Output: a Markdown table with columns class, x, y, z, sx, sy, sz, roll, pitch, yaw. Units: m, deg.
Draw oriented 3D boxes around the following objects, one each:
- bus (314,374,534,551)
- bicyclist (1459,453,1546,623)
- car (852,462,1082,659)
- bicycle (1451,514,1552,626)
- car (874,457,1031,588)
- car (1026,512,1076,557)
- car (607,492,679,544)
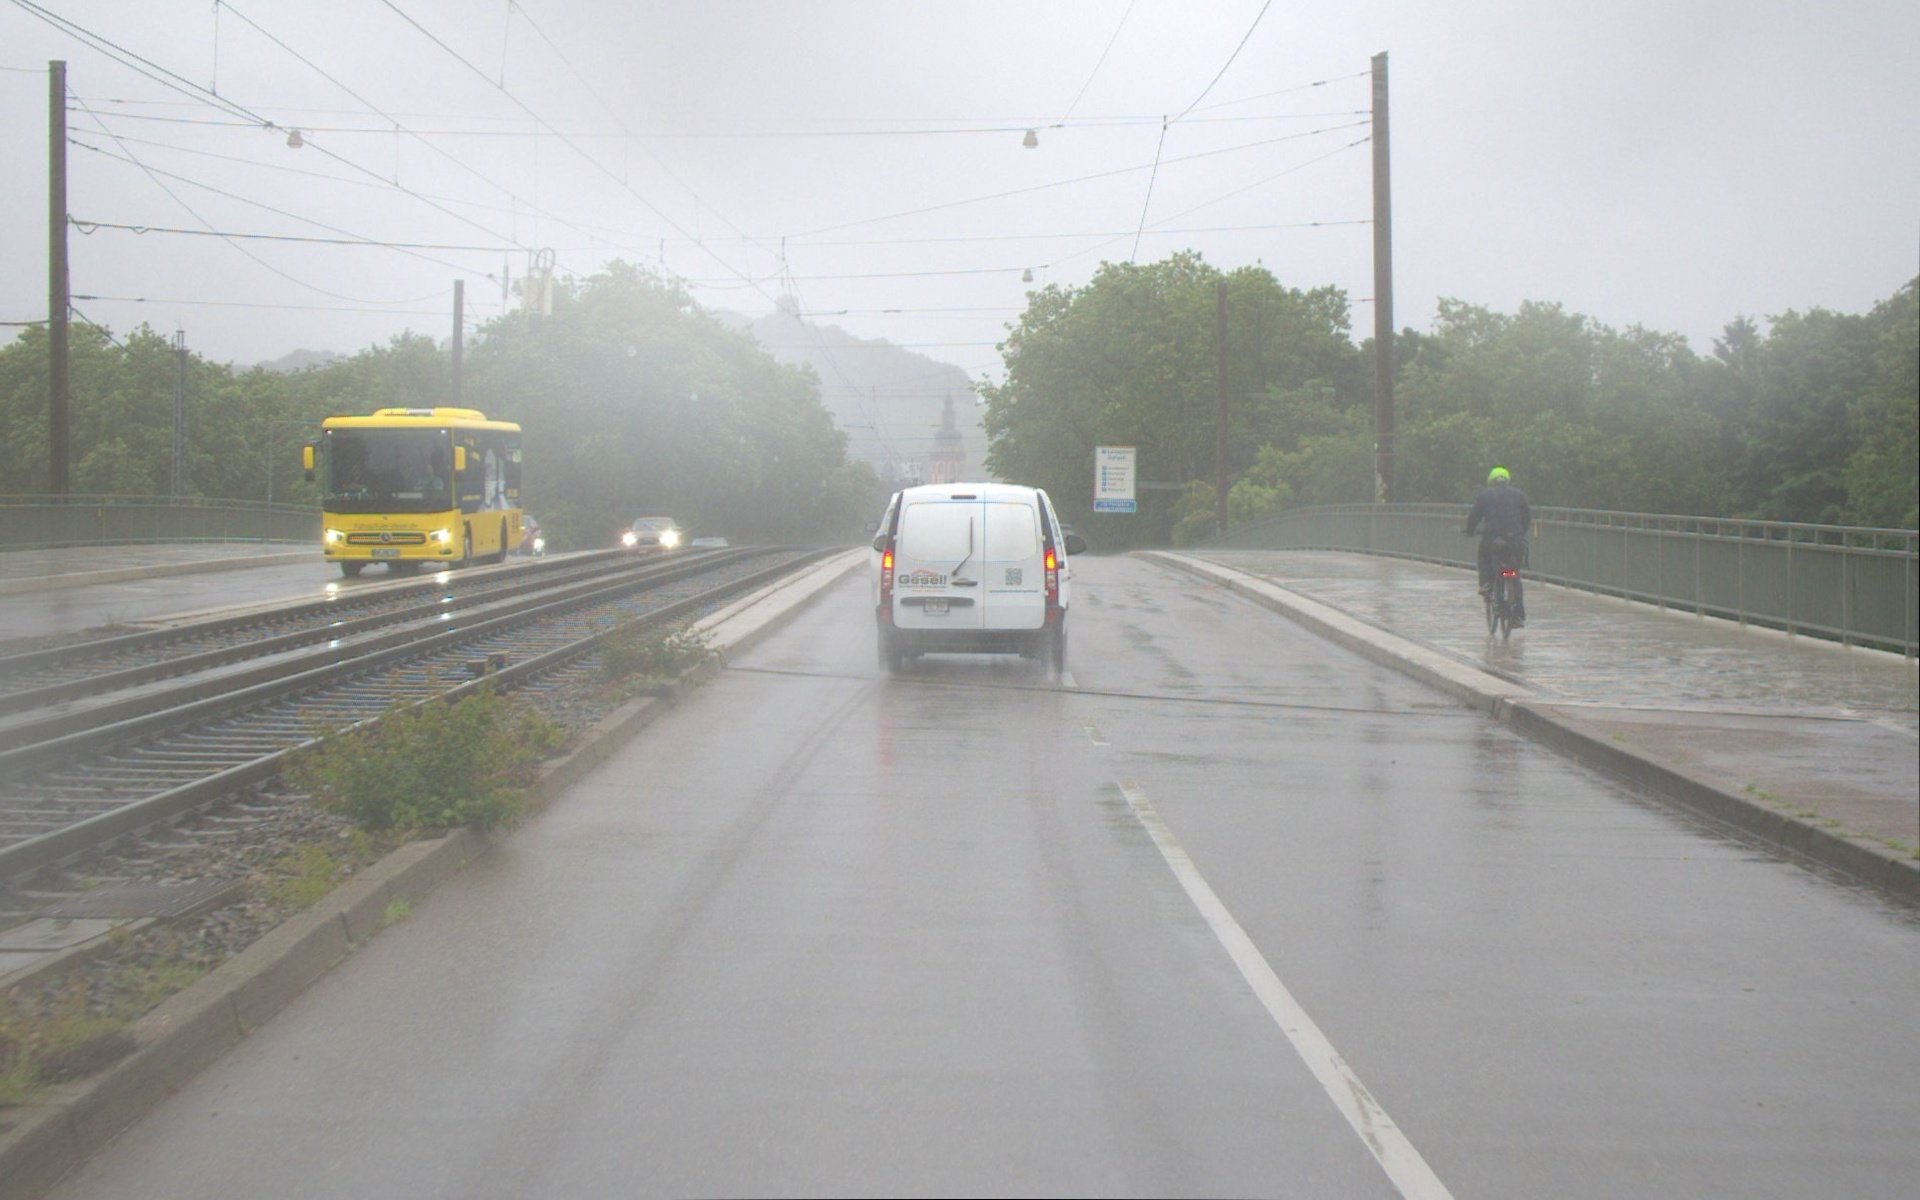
| class | x | y | z | sx | sy | sz | roll | pitch | yaw |
| --- | --- | --- | --- | --- | --- | --- | --- | --- | --- |
| bus | -10.946 | -2.889 | 71.293 | 2.708 | 3.329 | 10.995 | -1 | 3 | 0 |
| bicyclist | 5.758 | -0.658 | 36.529 | 0.725 | 1.758 | 0.949 | 2 | 0 | 1 |
| car | 0.133 | -0.371 | 33.323 | 1.994 | 1.720 | 4.000 | 2 | 0 | 3 |
| bicycle | 5.736 | -0.335 | 36.519 | 0.723 | 1.125 | 2.168 | 2 | 1 | 1 |
| car | -0.062 | -1.065 | 48.833 | 1.994 | 1.711 | 4.000 | 2 | 0 | 3 |
| car | 3.223 | -2.314 | 122.021 | 1.450 | 1.494 | 2.983 | 2 | 0 | -4 |
| car | -11.043 | -2.854 | 120.176 | 1.993 | 1.711 | 4.941 | -1 | 0 | 0 |
